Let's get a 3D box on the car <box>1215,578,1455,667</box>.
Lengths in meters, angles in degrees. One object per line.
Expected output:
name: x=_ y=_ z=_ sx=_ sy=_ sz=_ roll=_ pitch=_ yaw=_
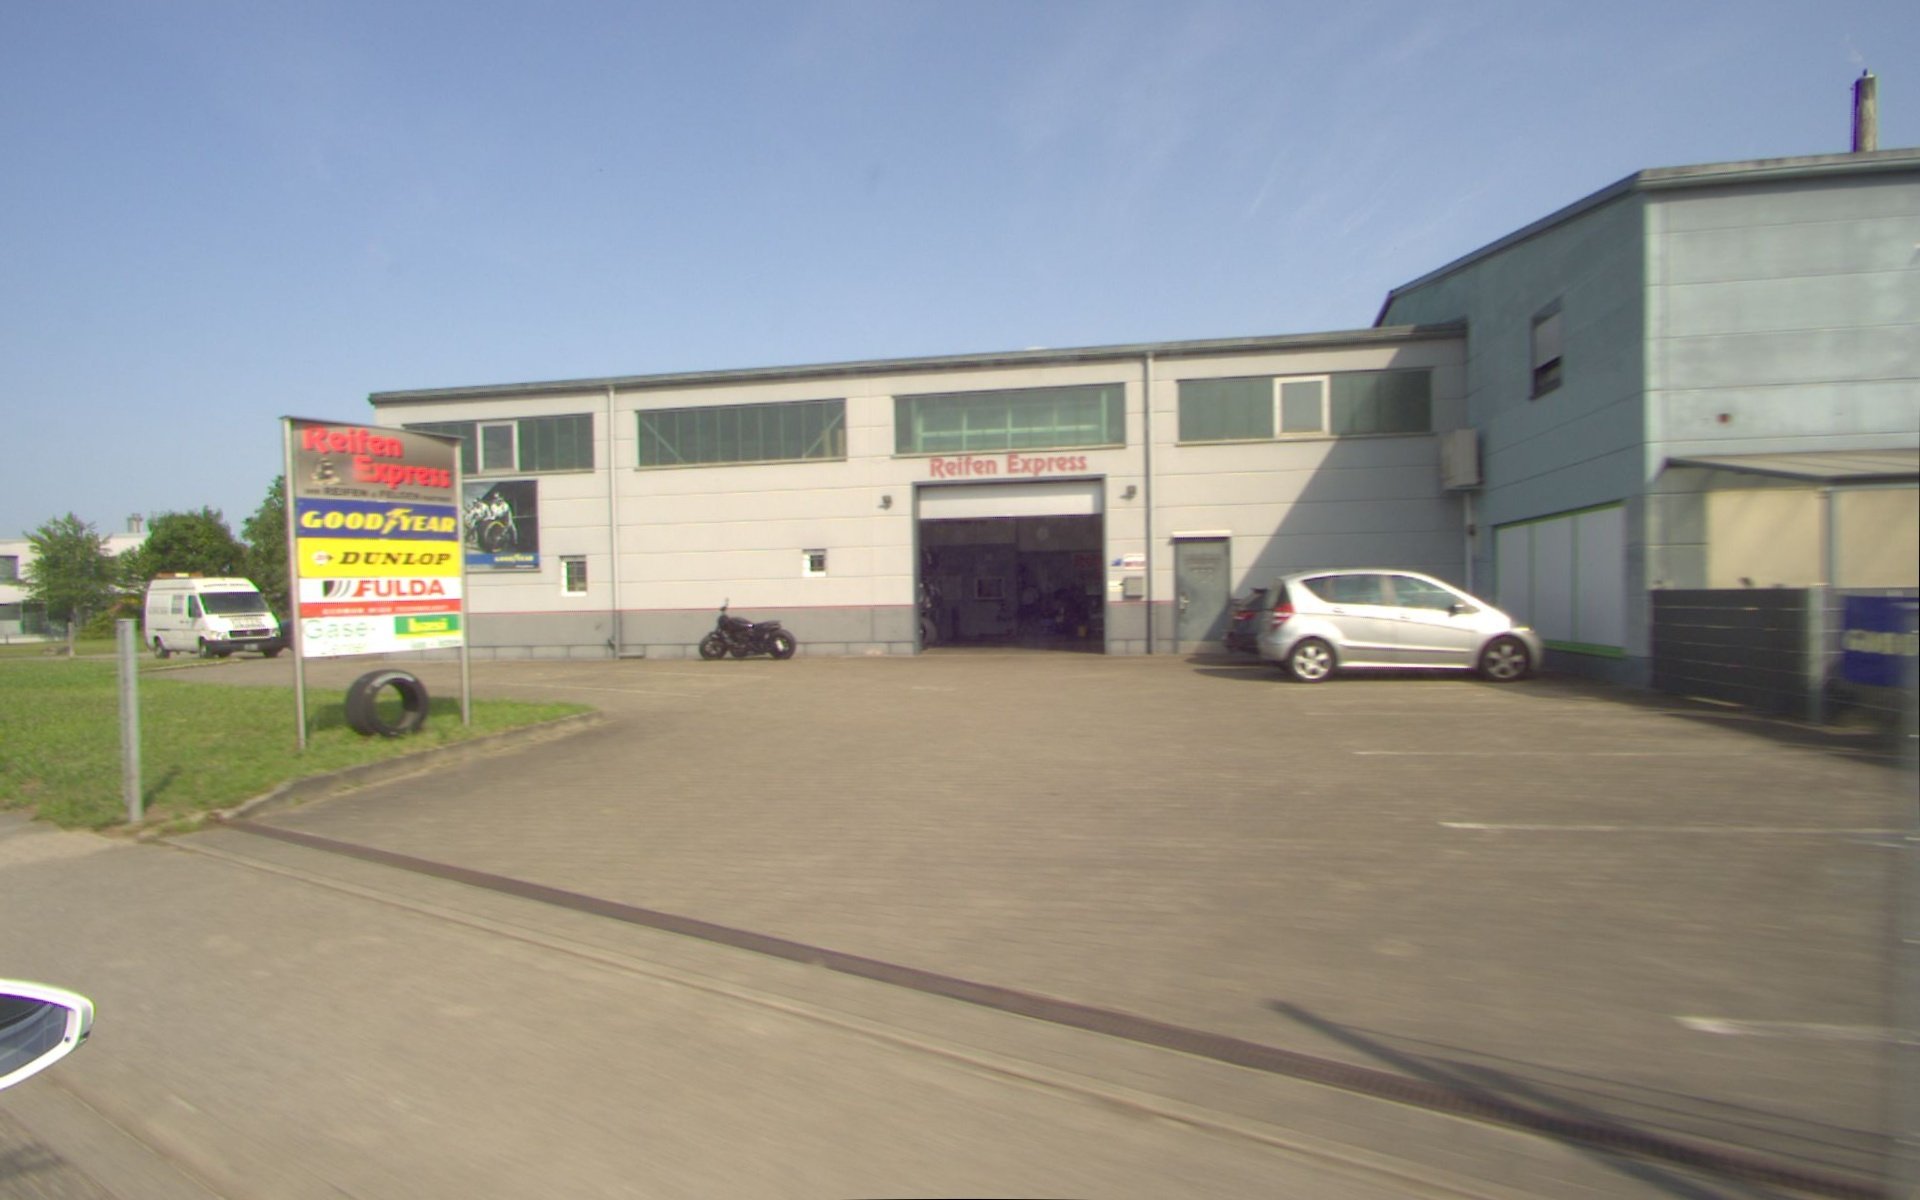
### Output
car: x=6.344 y=0.388 z=17.317 sx=3.641 sy=1.421 sz=1.680 roll=-1 pitch=1 yaw=11

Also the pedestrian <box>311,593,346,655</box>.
pedestrian: x=-17.208 y=0.640 z=27.297 sx=0.694 sy=1.662 sz=0.746 roll=-1 pitch=1 yaw=-26

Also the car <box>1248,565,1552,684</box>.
car: x=6.188 y=0.350 z=14.470 sx=3.734 sy=1.589 sz=1.638 roll=-1 pitch=1 yaw=11

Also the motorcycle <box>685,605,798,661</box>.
motorcycle: x=-4.545 y=0.683 z=20.890 sx=2.160 sy=1.109 sz=0.803 roll=-1 pitch=1 yaw=9

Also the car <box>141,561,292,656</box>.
car: x=-23.317 y=0.283 z=31.314 sx=5.800 sy=2.742 sz=1.968 roll=-1 pitch=1 yaw=34
